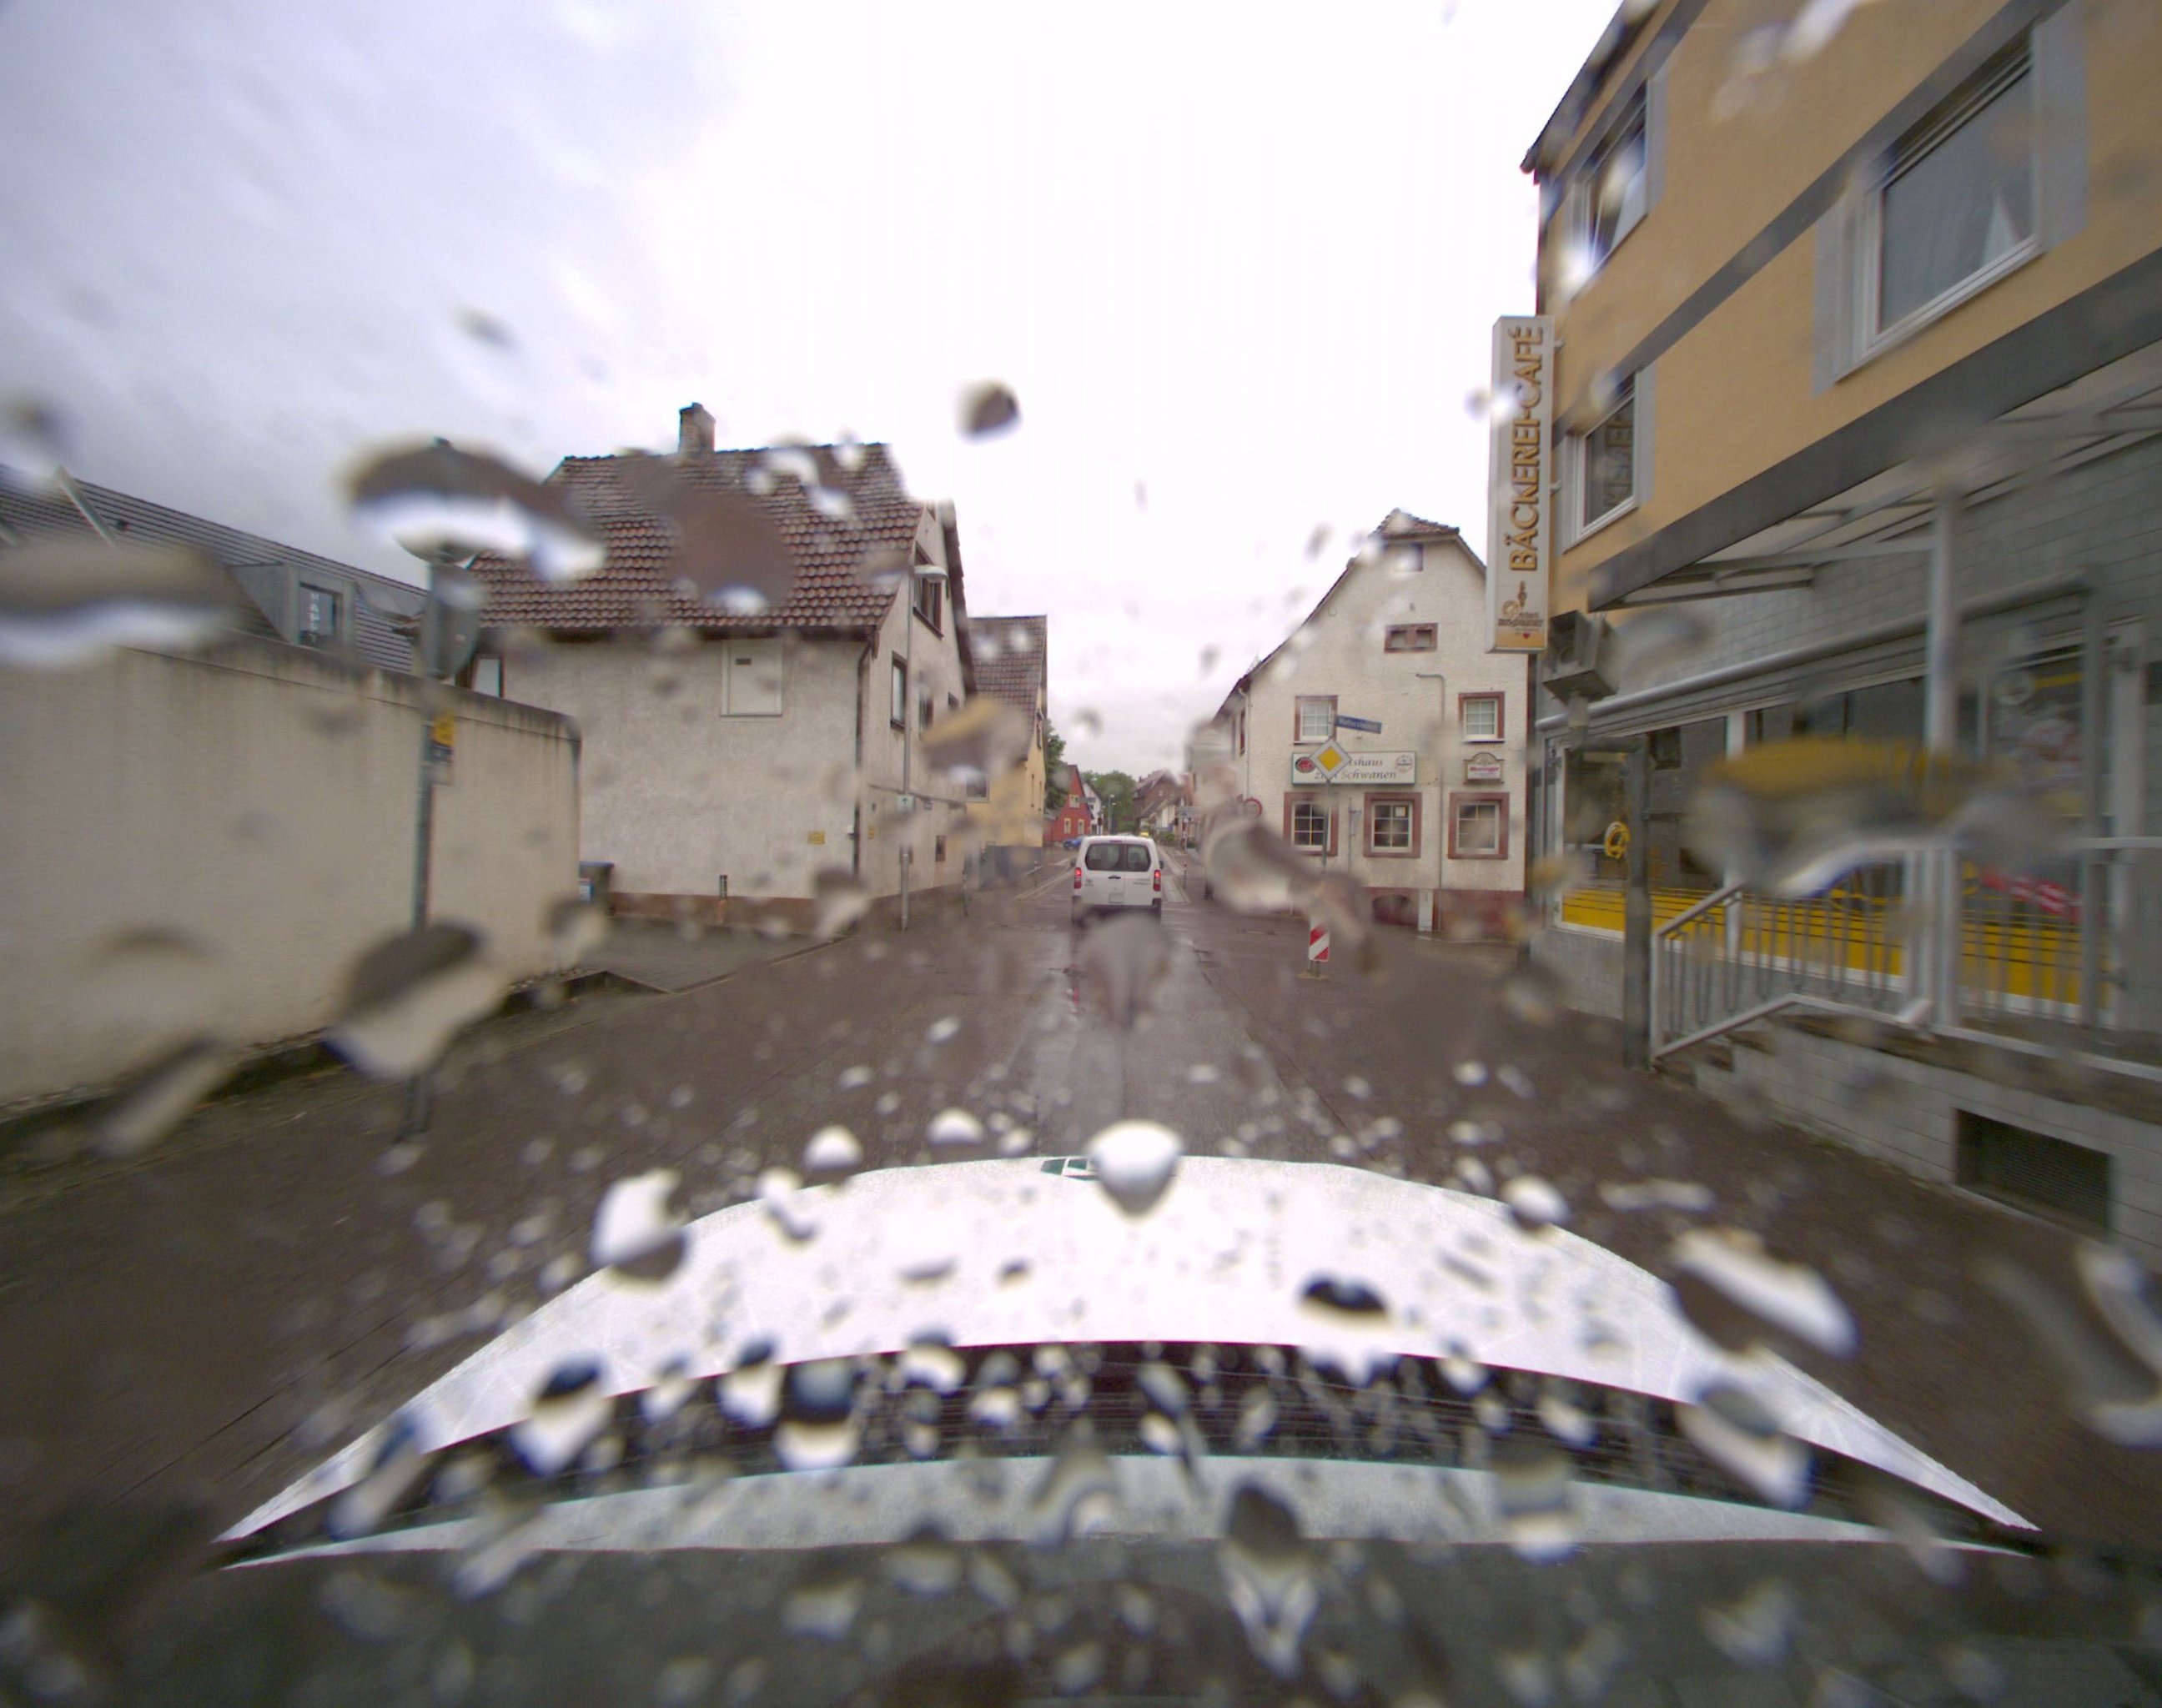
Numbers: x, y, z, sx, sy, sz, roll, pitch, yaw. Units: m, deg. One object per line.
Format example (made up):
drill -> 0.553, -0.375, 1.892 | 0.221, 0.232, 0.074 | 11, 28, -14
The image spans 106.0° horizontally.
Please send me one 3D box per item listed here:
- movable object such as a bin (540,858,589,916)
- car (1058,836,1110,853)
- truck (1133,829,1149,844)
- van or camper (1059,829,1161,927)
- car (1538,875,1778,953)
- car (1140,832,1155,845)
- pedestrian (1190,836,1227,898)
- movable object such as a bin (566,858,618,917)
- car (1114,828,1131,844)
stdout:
movable object such as a bin -> -8.853, 0.555, 13.972 | 0.447, 0.950, 0.509 | 3, 1, 5
car -> 0.251, -0.803, 70.213 | 4.015, 1.373, 2.089 | 0, 0, -33
truck -> 9.622, -2.763, 130.643 | 2.342, 2.425, 4.950 | 1, 1, 1
van or camper -> 0.688, 0.444, 17.473 | 1.935, 1.851, 4.004 | 0, 0, 4
car -> 12.443, 1.260, 17.815 | 3.924, 1.373, 1.668 | 2, 1, 11
car -> 9.477, -2.206, 116.888 | 1.986, 1.747, 4.002 | 1, 1, 2
pedestrian -> 3.678, 0.355, 23.562 | 0.988, 1.735, 0.813 | 1, 3, 7
movable object such as a bin -> -8.360, 0.562, 13.931 | 0.486, 0.950, 0.555 | 3, 1, 5
car -> 4.730, -2.087, 92.379 | 1.805, 1.778, 4.021 | 1, 2, 3
